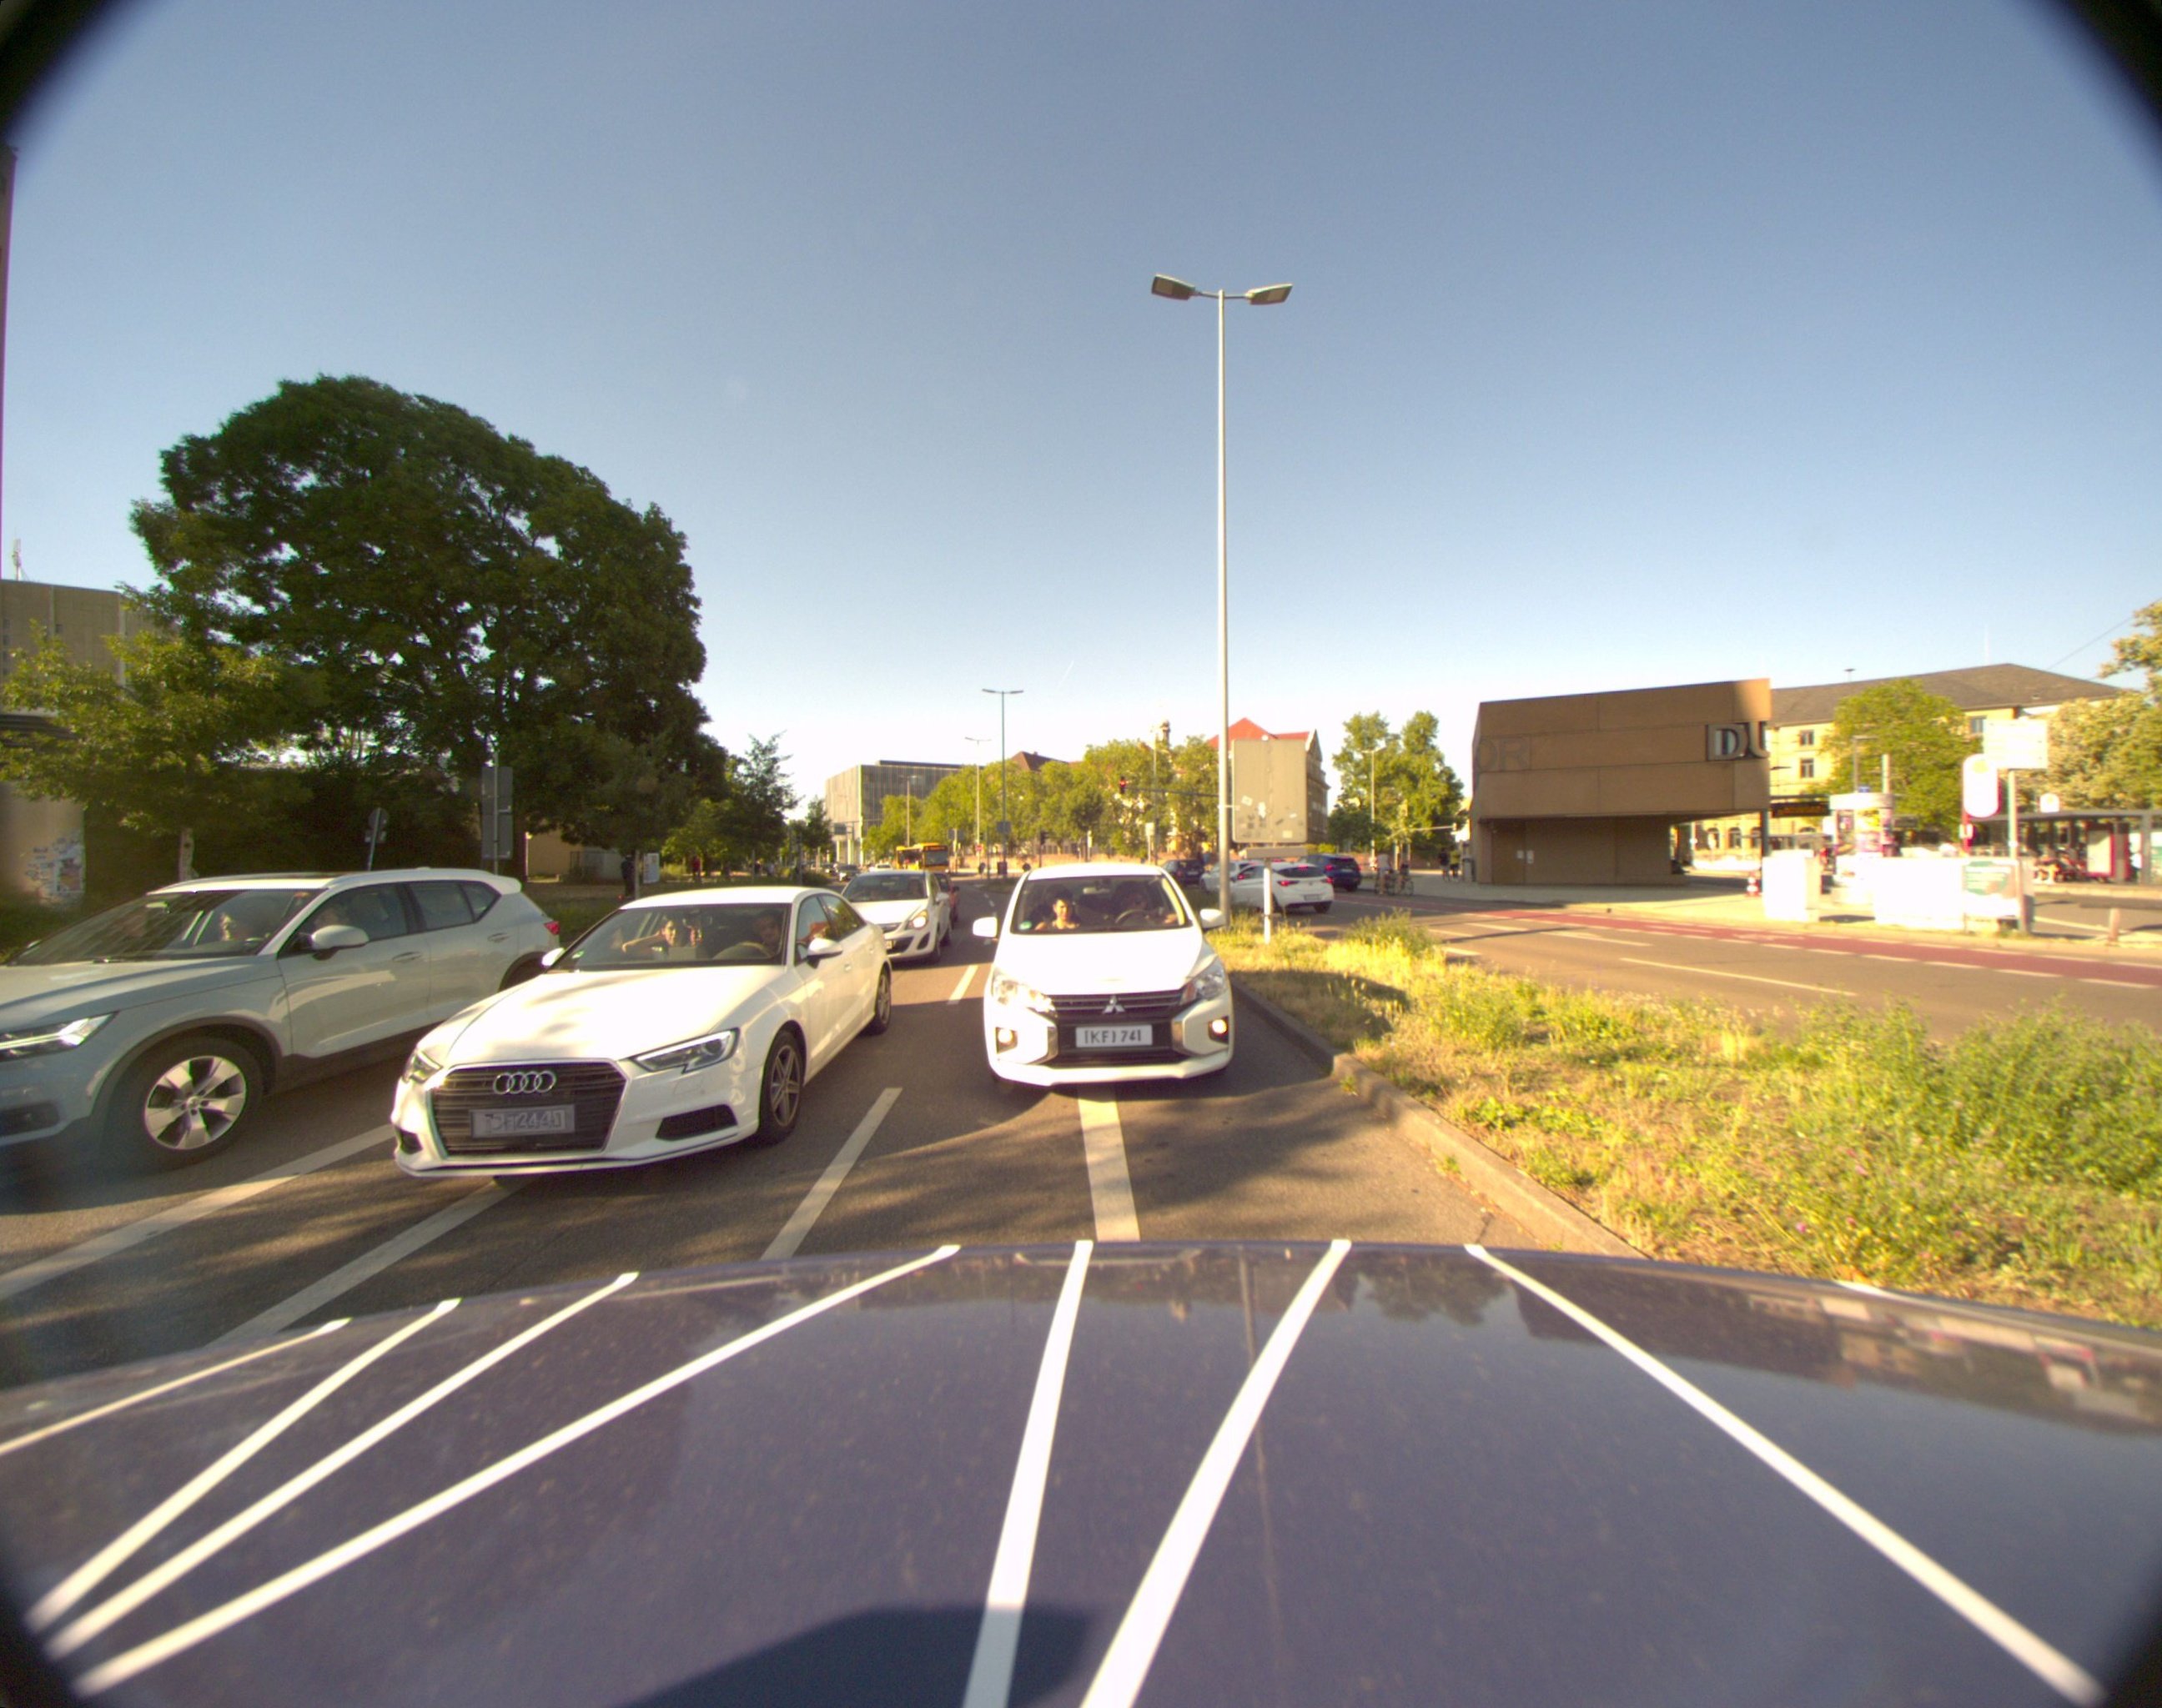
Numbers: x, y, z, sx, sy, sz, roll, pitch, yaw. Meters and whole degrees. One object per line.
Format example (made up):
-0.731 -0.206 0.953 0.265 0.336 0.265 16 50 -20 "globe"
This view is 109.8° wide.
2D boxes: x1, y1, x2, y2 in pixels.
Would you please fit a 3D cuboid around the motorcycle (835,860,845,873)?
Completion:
-24.410 1.278 76.931 0.719 1.297 2.230 -3 1 -24 "motorcycle"

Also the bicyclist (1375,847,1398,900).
11.774 0.747 29.291 0.611 2.002 0.565 -1 1 -15 "bicyclist"

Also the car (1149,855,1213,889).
4.839 0.833 37.354 1.757 1.451 4.184 -2 1 -12 "car"

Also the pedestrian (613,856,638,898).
-17.809 0.893 29.697 0.596 1.585 0.594 -2 1 -8 "pedestrian"

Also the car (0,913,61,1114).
-8.760 1.239 3.881 1.628 1.451 4.040 -2 1 -2 "car"

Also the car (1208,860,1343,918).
5.546 0.940 22.258 1.758 1.451 4.182 -3 1 -19 "car"

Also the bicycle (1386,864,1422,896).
12.487 0.981 29.438 0.464 1.185 1.395 -3 1 -17 "bicycle"

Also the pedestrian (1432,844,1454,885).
17.860 0.503 37.479 0.777 2.002 0.773 -2 1 13 "pedestrian"

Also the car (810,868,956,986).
-3.075 1.047 12.577 1.628 1.451 4.039 -2 1 -5 "car"

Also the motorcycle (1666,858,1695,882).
26.236 0.705 33.254 0.948 1.061 0.331 -1 1 39 "motorcycle"

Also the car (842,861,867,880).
-19.171 1.378 64.199 1.758 1.451 4.182 -3 1 -20 "car"

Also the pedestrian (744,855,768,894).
-17.493 1.083 40.899 0.895 2.002 0.881 -2 1 -10 "pedestrian"

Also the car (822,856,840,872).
-28.094 1.097 85.360 1.748 1.696 3.993 -1 0 -21 "car"

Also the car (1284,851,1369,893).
10.631 0.718 33.233 1.757 1.680 4.184 -1 0 -11 "car"

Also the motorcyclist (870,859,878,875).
-21.160 1.356 77.636 0.712 1.581 0.689 -3 1 -24 "motorcyclist"

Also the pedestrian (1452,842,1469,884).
18.346 0.415 36.752 0.655 2.002 0.469 -2 1 20 "pedestrian"

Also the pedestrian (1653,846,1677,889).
27.821 0.655 36.195 0.780 2.002 0.771 -3 2 -42 "pedestrian"

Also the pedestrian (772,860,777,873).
-41.153 1.698 102.038 0.399 1.676 0.483 -1 1 1 "pedestrian"

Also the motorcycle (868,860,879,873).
-21.287 1.251 77.830 0.719 1.297 2.230 -3 1 -23 "motorcycle"

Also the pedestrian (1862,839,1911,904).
21.905 0.471 20.664 0.713 1.748 0.583 -2 1 20 "pedestrian"

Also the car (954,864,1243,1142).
0.054 0.893 6.430 1.628 1.451 4.040 -2 1 -2 "car"

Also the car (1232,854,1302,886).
9.410 0.784 38.850 1.850 1.483 4.388 1 0 -10 "car"

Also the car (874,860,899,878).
-17.427 1.332 68.091 1.758 1.451 4.182 -3 1 -19 "car"

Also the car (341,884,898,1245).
-2.555 1.035 5.388 1.628 1.396 3.832 -2 1 -2 "car"

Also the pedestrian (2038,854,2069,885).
38.973 0.614 30.466 0.539 1.180 0.659 -2 1 29 "pedestrian"

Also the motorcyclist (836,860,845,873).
-24.379 1.290 76.915 0.719 1.297 0.734 -3 1 -23 "motorcyclist"

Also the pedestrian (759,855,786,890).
-18.131 1.065 44.719 1.143 2.002 1.285 -2 1 -10 "pedestrian"

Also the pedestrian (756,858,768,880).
-30.028 1.368 71.460 0.852 2.002 0.833 -3 1 -15 "pedestrian"

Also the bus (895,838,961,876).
-14.919 0.302 73.115 3.091 3.193 12.518 -3 1 -26 "bus"

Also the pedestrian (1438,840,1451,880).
18.459 0.317 38.619 0.467 2.002 0.657 -2 1 17 "pedestrian"

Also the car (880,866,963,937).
-3.897 1.096 19.094 1.628 1.451 4.039 -2 1 -7 "car"

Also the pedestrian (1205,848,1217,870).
11.110 0.392 65.089 0.797 1.886 0.612 0 1 40 "pedestrian"

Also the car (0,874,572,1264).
-5.752 1.051 5.255 1.628 1.611 4.223 -2 1 -2 "car"

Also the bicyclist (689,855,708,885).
-20.411 0.837 40.571 0.617 1.551 0.870 -2 1 -8 "bicyclist"

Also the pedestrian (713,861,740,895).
-18.592 1.225 39.881 1.010 1.711 0.884 -2 1 -10 "pedestrian"

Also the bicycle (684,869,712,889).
-20.430 1.303 40.535 0.660 0.958 2.033 0 1 -7 "bicycle"

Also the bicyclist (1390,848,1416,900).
12.475 0.762 29.409 0.611 2.002 0.708 -1 1 -15 "bicyclist"

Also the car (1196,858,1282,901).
6.220 0.945 30.487 1.850 1.483 4.388 -2 1 -10 "car"

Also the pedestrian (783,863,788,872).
-39.790 1.861 102.415 0.439 1.231 0.495 -1 1 1 "pedestrian"

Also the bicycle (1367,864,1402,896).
11.758 1.008 29.498 0.464 1.185 1.395 -3 1 -17 "bicycle"

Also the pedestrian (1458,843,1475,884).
19.081 0.454 37.661 0.655 2.002 0.469 -2 1 20 "pedestrian"
